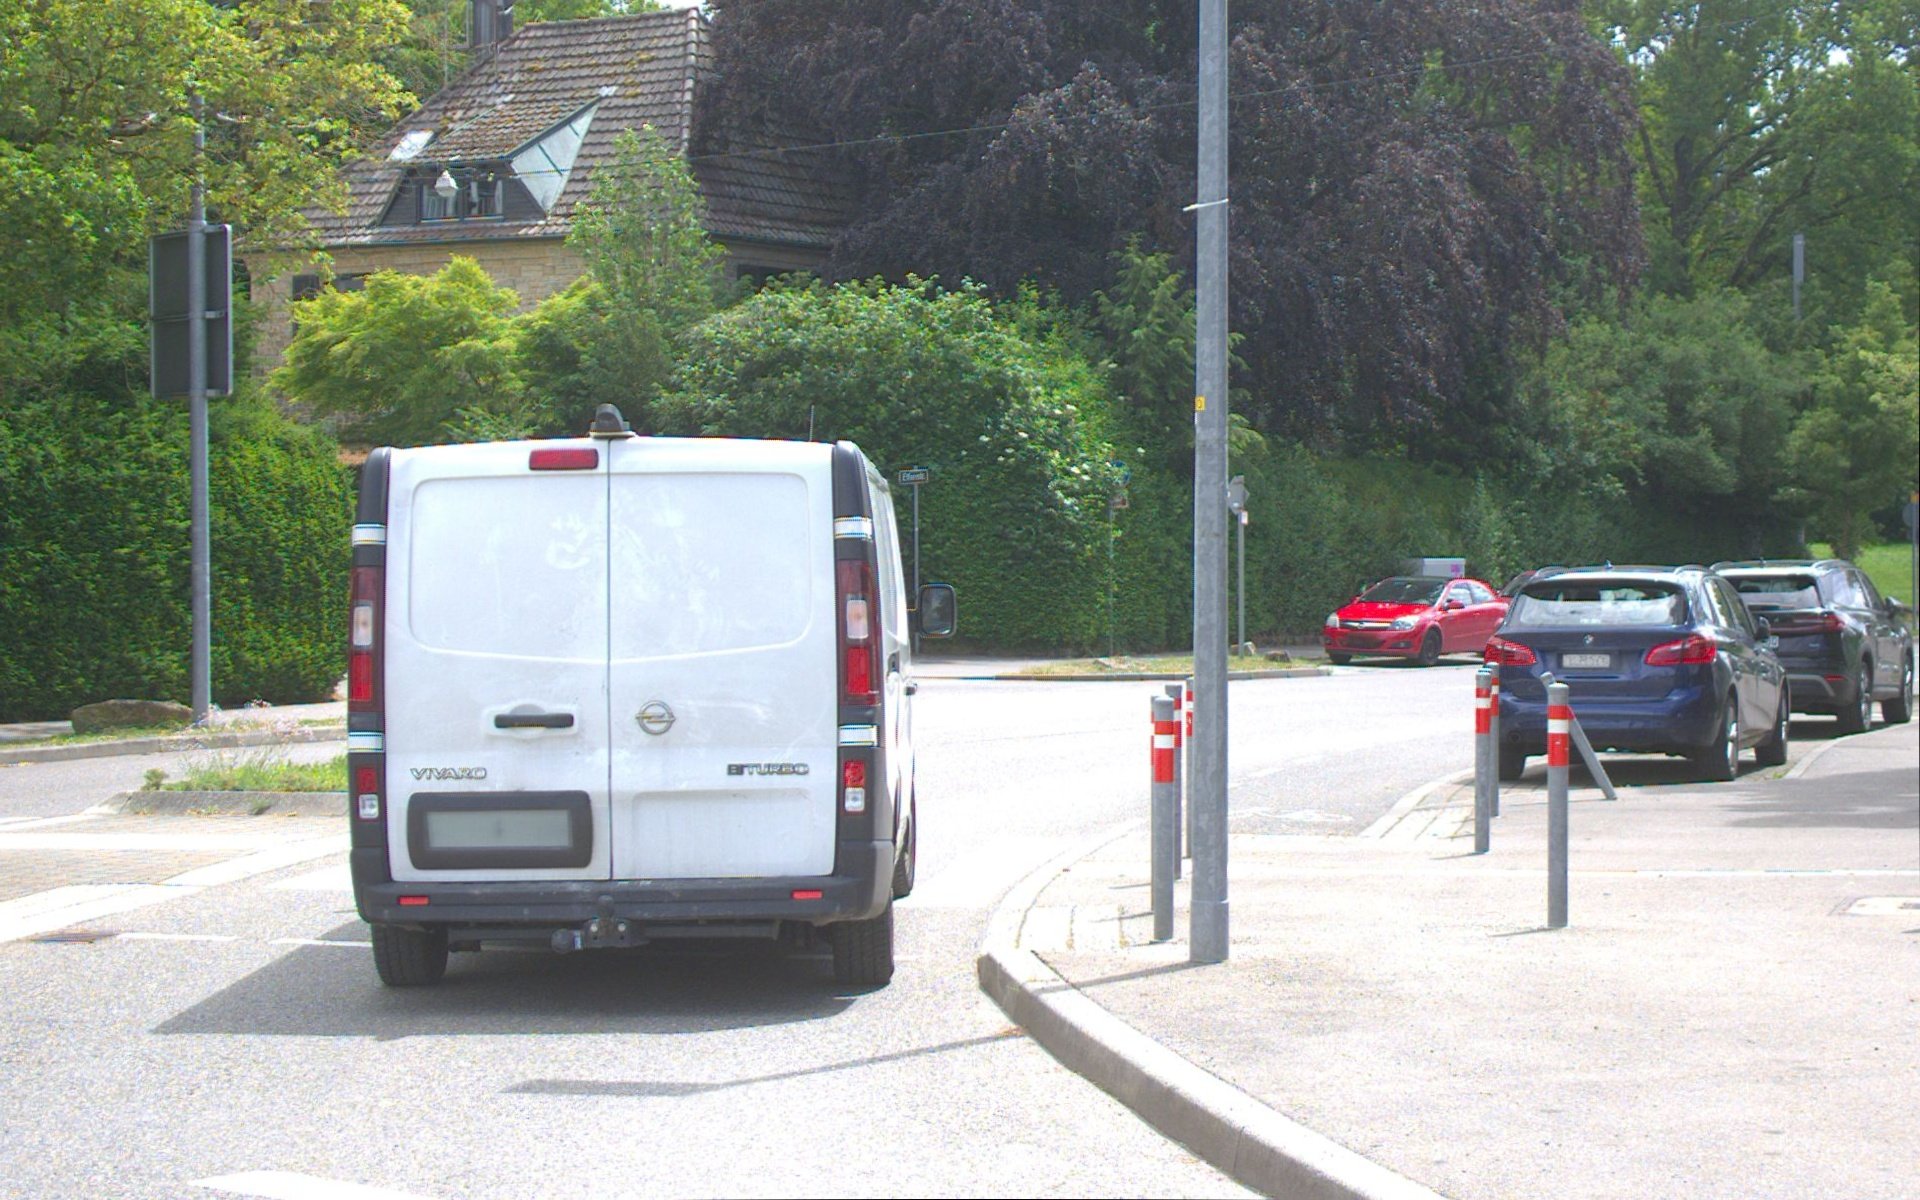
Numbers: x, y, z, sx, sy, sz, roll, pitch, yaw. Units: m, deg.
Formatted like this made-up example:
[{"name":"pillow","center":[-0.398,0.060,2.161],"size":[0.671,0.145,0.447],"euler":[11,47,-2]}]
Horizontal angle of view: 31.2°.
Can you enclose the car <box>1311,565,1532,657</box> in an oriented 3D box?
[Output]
[{"name":"car","center":[7.460,0.154,55.258],"size":[1.664,1.373,4.557],"euler":[2,2,33]}]

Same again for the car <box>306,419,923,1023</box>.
[{"name":"car","center":[-1.156,0.393,13.663],"size":[1.939,1.954,4.833],"euler":[1,0,0]}]

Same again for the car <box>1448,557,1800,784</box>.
[{"name":"car","center":[5.169,0.486,26.302],"size":[1.918,1.573,4.425],"euler":[-1,0,21]}]

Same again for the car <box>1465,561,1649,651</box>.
[{"name":"car","center":[10.392,0.084,59.668],"size":[1.653,1.445,4.097],"euler":[2,2,33]}]

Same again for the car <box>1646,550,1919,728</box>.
[{"name":"car","center":[8.208,0.351,33.808],"size":[1.881,1.616,4.841],"euler":[-1,0,23]}]
